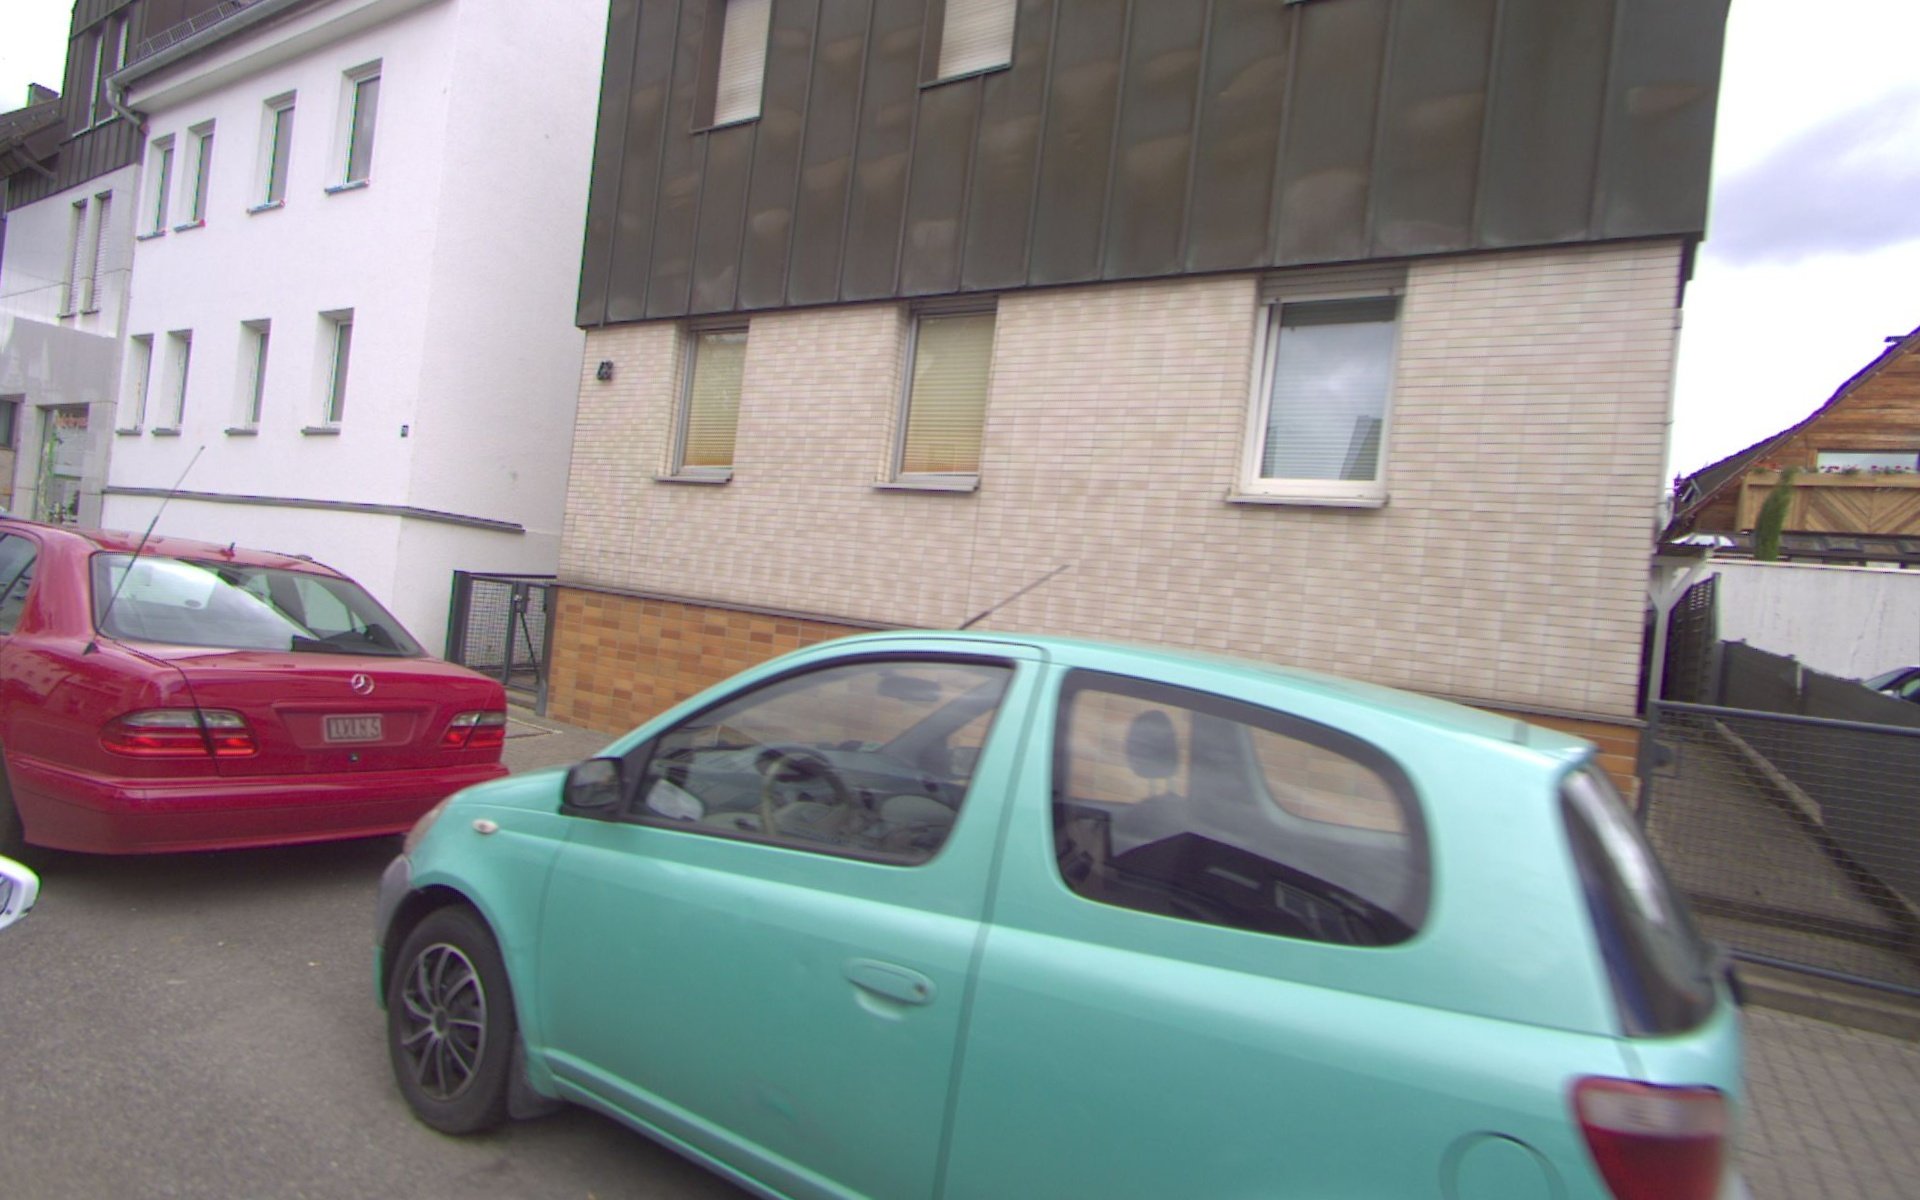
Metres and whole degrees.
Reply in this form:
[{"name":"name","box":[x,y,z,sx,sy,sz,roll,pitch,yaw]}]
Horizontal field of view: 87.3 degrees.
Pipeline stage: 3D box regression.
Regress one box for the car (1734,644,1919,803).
[{"name":"car","box":[11.863,1.546,11.732,1.903,1.675,3.972,4,1,-28]}]

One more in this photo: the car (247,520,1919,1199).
[{"name":"car","box":[0.003,0.768,2.845,3.928,1.515,1.834,6,-2,32]}]

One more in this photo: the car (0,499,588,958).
[{"name":"car","box":[-4.201,0.333,5.156,4.378,1.462,1.759,6,-2,29]}]

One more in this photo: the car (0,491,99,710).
[{"name":"car","box":[-8.934,-0.225,7.971,4.439,1.557,1.879,6,-2,32]}]
